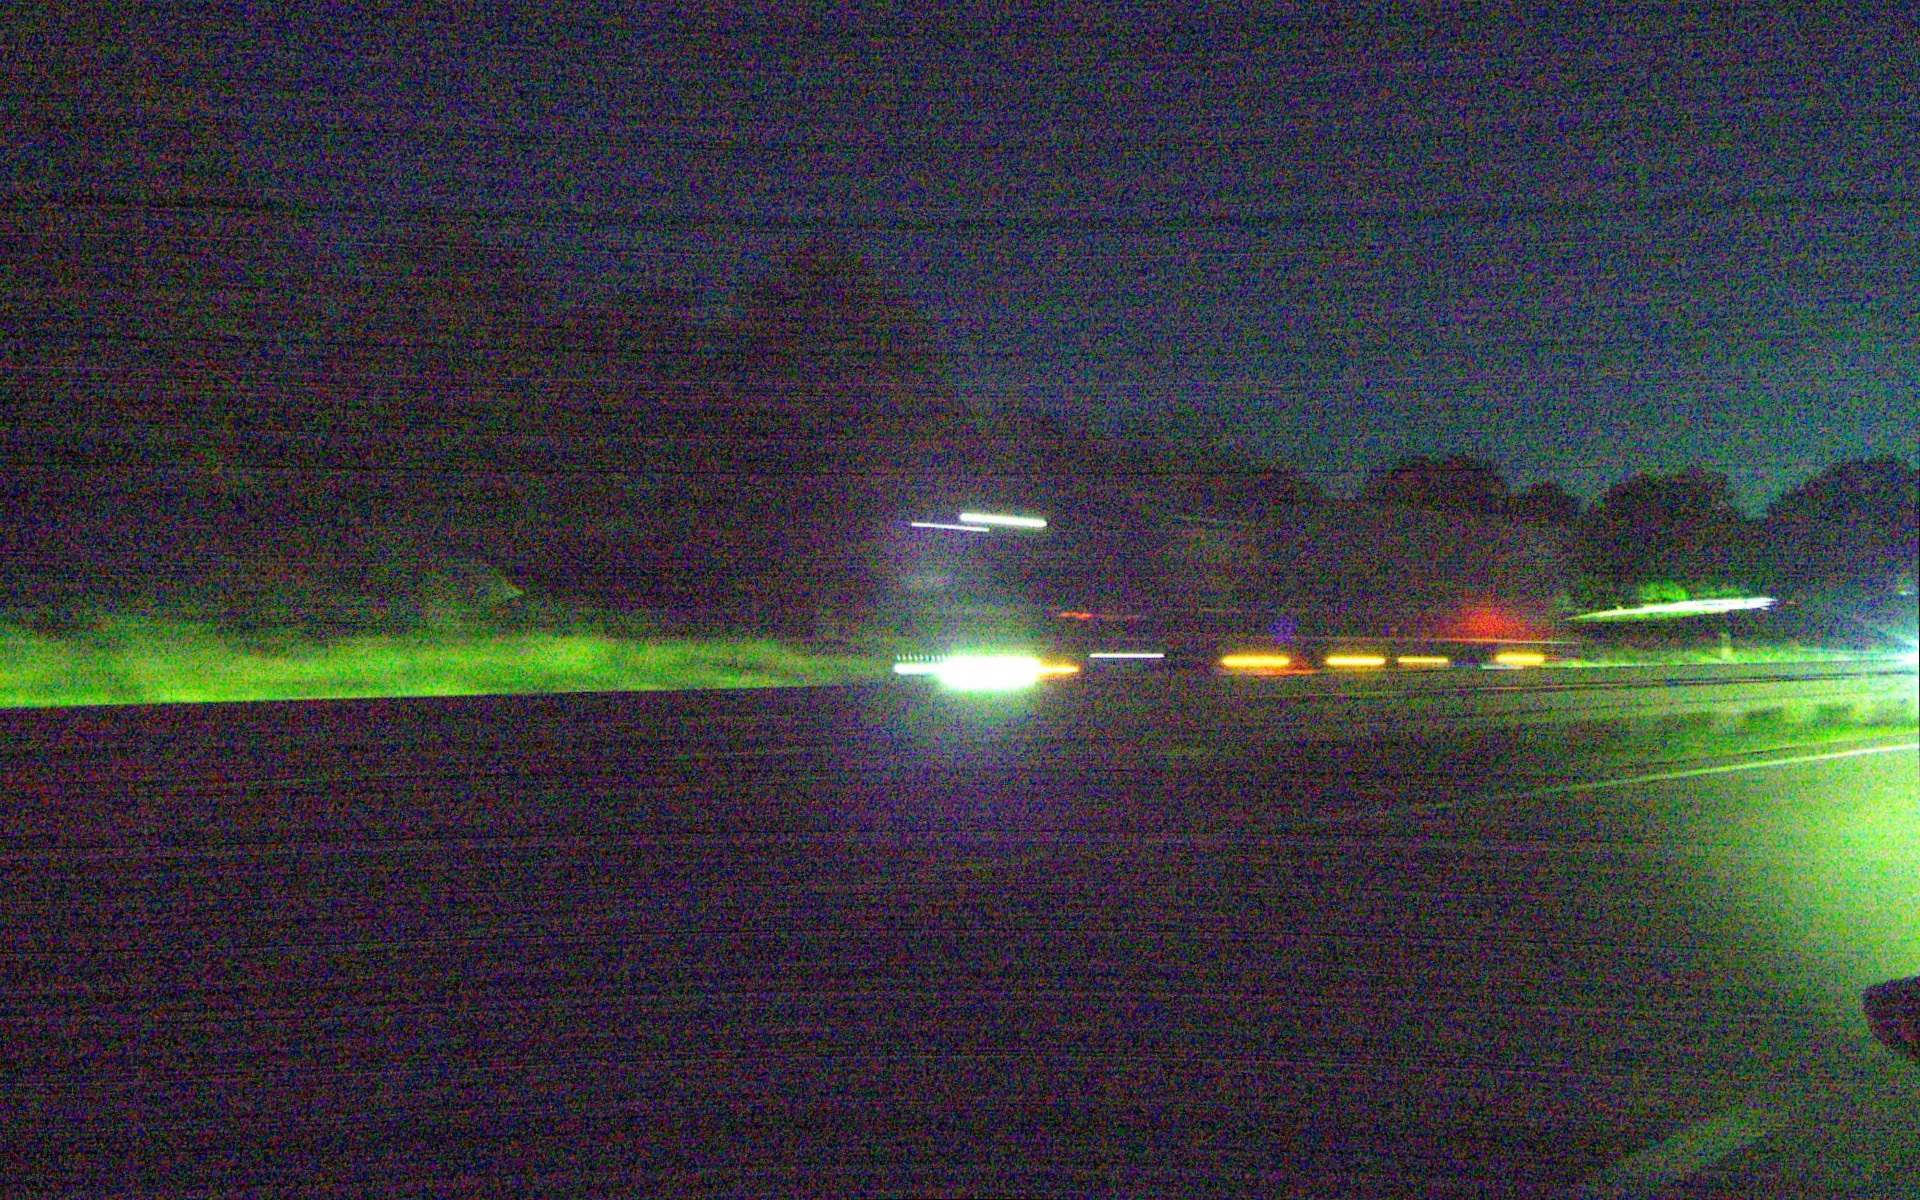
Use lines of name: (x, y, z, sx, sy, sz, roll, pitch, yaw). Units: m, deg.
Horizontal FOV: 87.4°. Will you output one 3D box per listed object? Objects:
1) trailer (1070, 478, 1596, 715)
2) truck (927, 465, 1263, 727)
trailer: (8.805, 0.084, 22.229, 13.575, 4.205, 2.665, 1, -1, -29)
truck: (2.565, -0.001, 18.792, 5.796, 4.232, 2.665, 1, -1, -29)
